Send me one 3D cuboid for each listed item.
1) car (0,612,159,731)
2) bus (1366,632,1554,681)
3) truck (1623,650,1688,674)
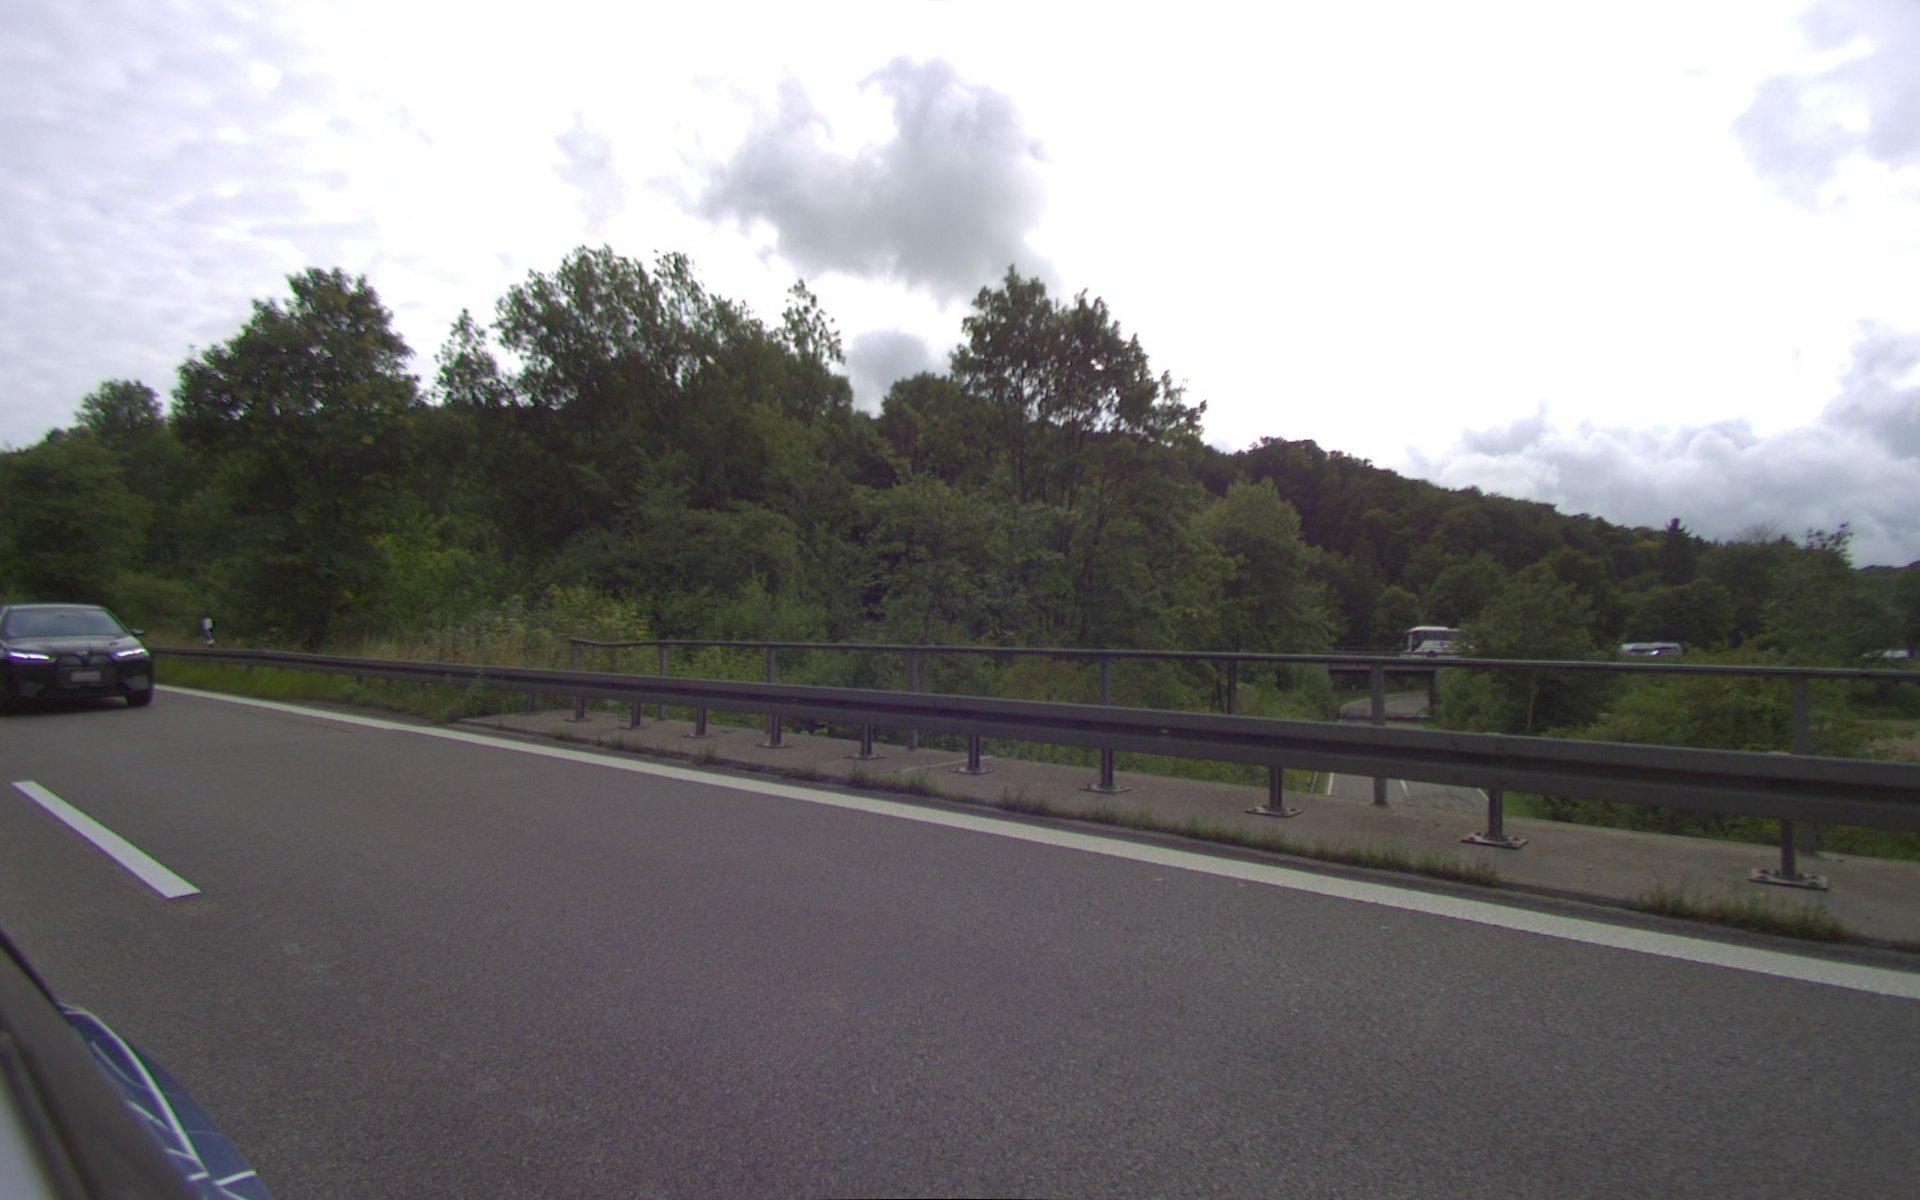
[{"bbox_3d":[-15.126,1.071,16.801,4.411,1.678,1.974,-1,1,40],"label":"car"},{"bbox_3d":[55.835,6.342,113.673,18.072,4.977,5.575,1,-3,4],"label":"bus"},{"bbox_3d":[79.231,7.057,115.371,5.656,2.485,2.362,2,-4,2],"label":"truck"}]
